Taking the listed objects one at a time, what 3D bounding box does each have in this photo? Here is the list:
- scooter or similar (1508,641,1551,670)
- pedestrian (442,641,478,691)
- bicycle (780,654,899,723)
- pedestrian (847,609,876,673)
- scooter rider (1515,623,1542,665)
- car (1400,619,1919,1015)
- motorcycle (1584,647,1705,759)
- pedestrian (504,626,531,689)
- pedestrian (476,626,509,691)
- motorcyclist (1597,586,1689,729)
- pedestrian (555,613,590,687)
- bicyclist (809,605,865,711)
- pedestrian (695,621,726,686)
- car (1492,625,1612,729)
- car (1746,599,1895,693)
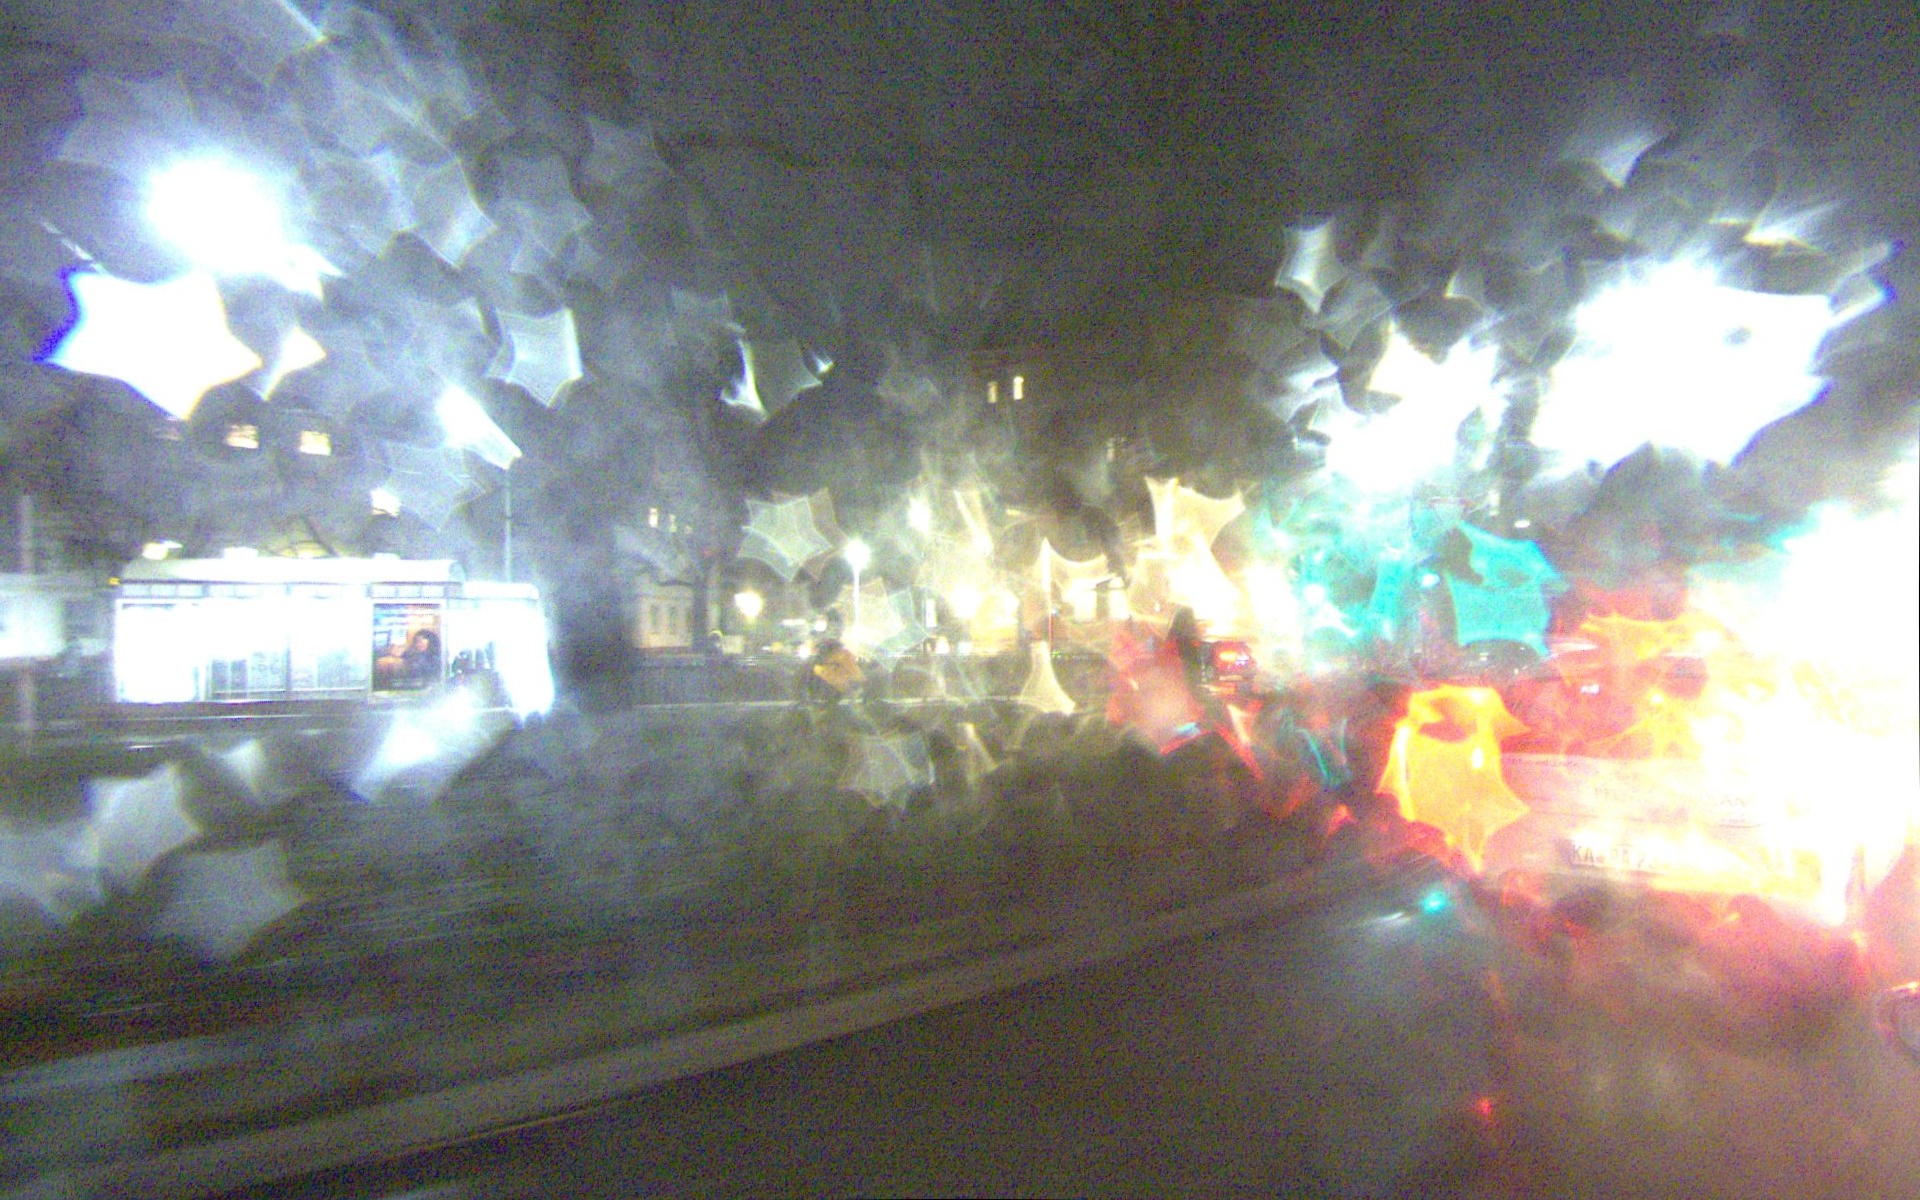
[{"bbox_3d":[22.419,2.183,39.564,1.343,1.066,0.642,1,0,-4],"label":"scooter or similar"},{"bbox_3d":[-13.281,1.750,26.691,0.575,1.270,0.623,1,0,33],"label":"pedestrian"},{"bbox_3d":[-1.822,1.338,15.220,1.748,0.982,0.571,1,0,-8],"label":"bicycle"},{"bbox_3d":[-2.834,1.165,28.841,0.660,1.798,0.715,1,0,-17],"label":"pedestrian"},{"bbox_3d":[22.381,1.729,39.556,0.640,1.594,0.642,1,0,-4],"label":"scooter rider"},{"bbox_3d":[4.290,0.904,5.848,3.572,1.536,1.901,1,-3,-43],"label":"car"},{"bbox_3d":[8.582,1.236,12.702,0.776,1.229,2.250,1,-1,22],"label":"motorcycle"},{"bbox_3d":[-11.999,1.548,27.236,0.393,1.651,0.532,1,1,33],"label":"pedestrian"},{"bbox_3d":[-12.464,1.545,26.769,0.575,1.674,0.558,1,1,33],"label":"pedestrian"},{"bbox_3d":[8.584,0.706,12.655,0.776,1.717,0.820,1,-1,22],"label":"motorcyclist"},{"bbox_3d":[-10.717,1.383,27.797,0.845,2.013,0.607,1,0,-17],"label":"pedestrian"},{"bbox_3d":[-1.867,0.863,15.216,0.801,1.568,0.571,1,0,-8],"label":"bicyclist"},{"bbox_3d":[-7.105,1.515,28.593,0.707,1.798,0.667,1,0,-24],"label":"pedestrian"},{"bbox_3d":[11.393,1.404,19.534,1.721,1.762,3.795,1,-1,26],"label":"car"},{"bbox_3d":[24.841,1.272,28.945,5.334,2.474,2.201,1,-1,-37],"label":"car"}]
